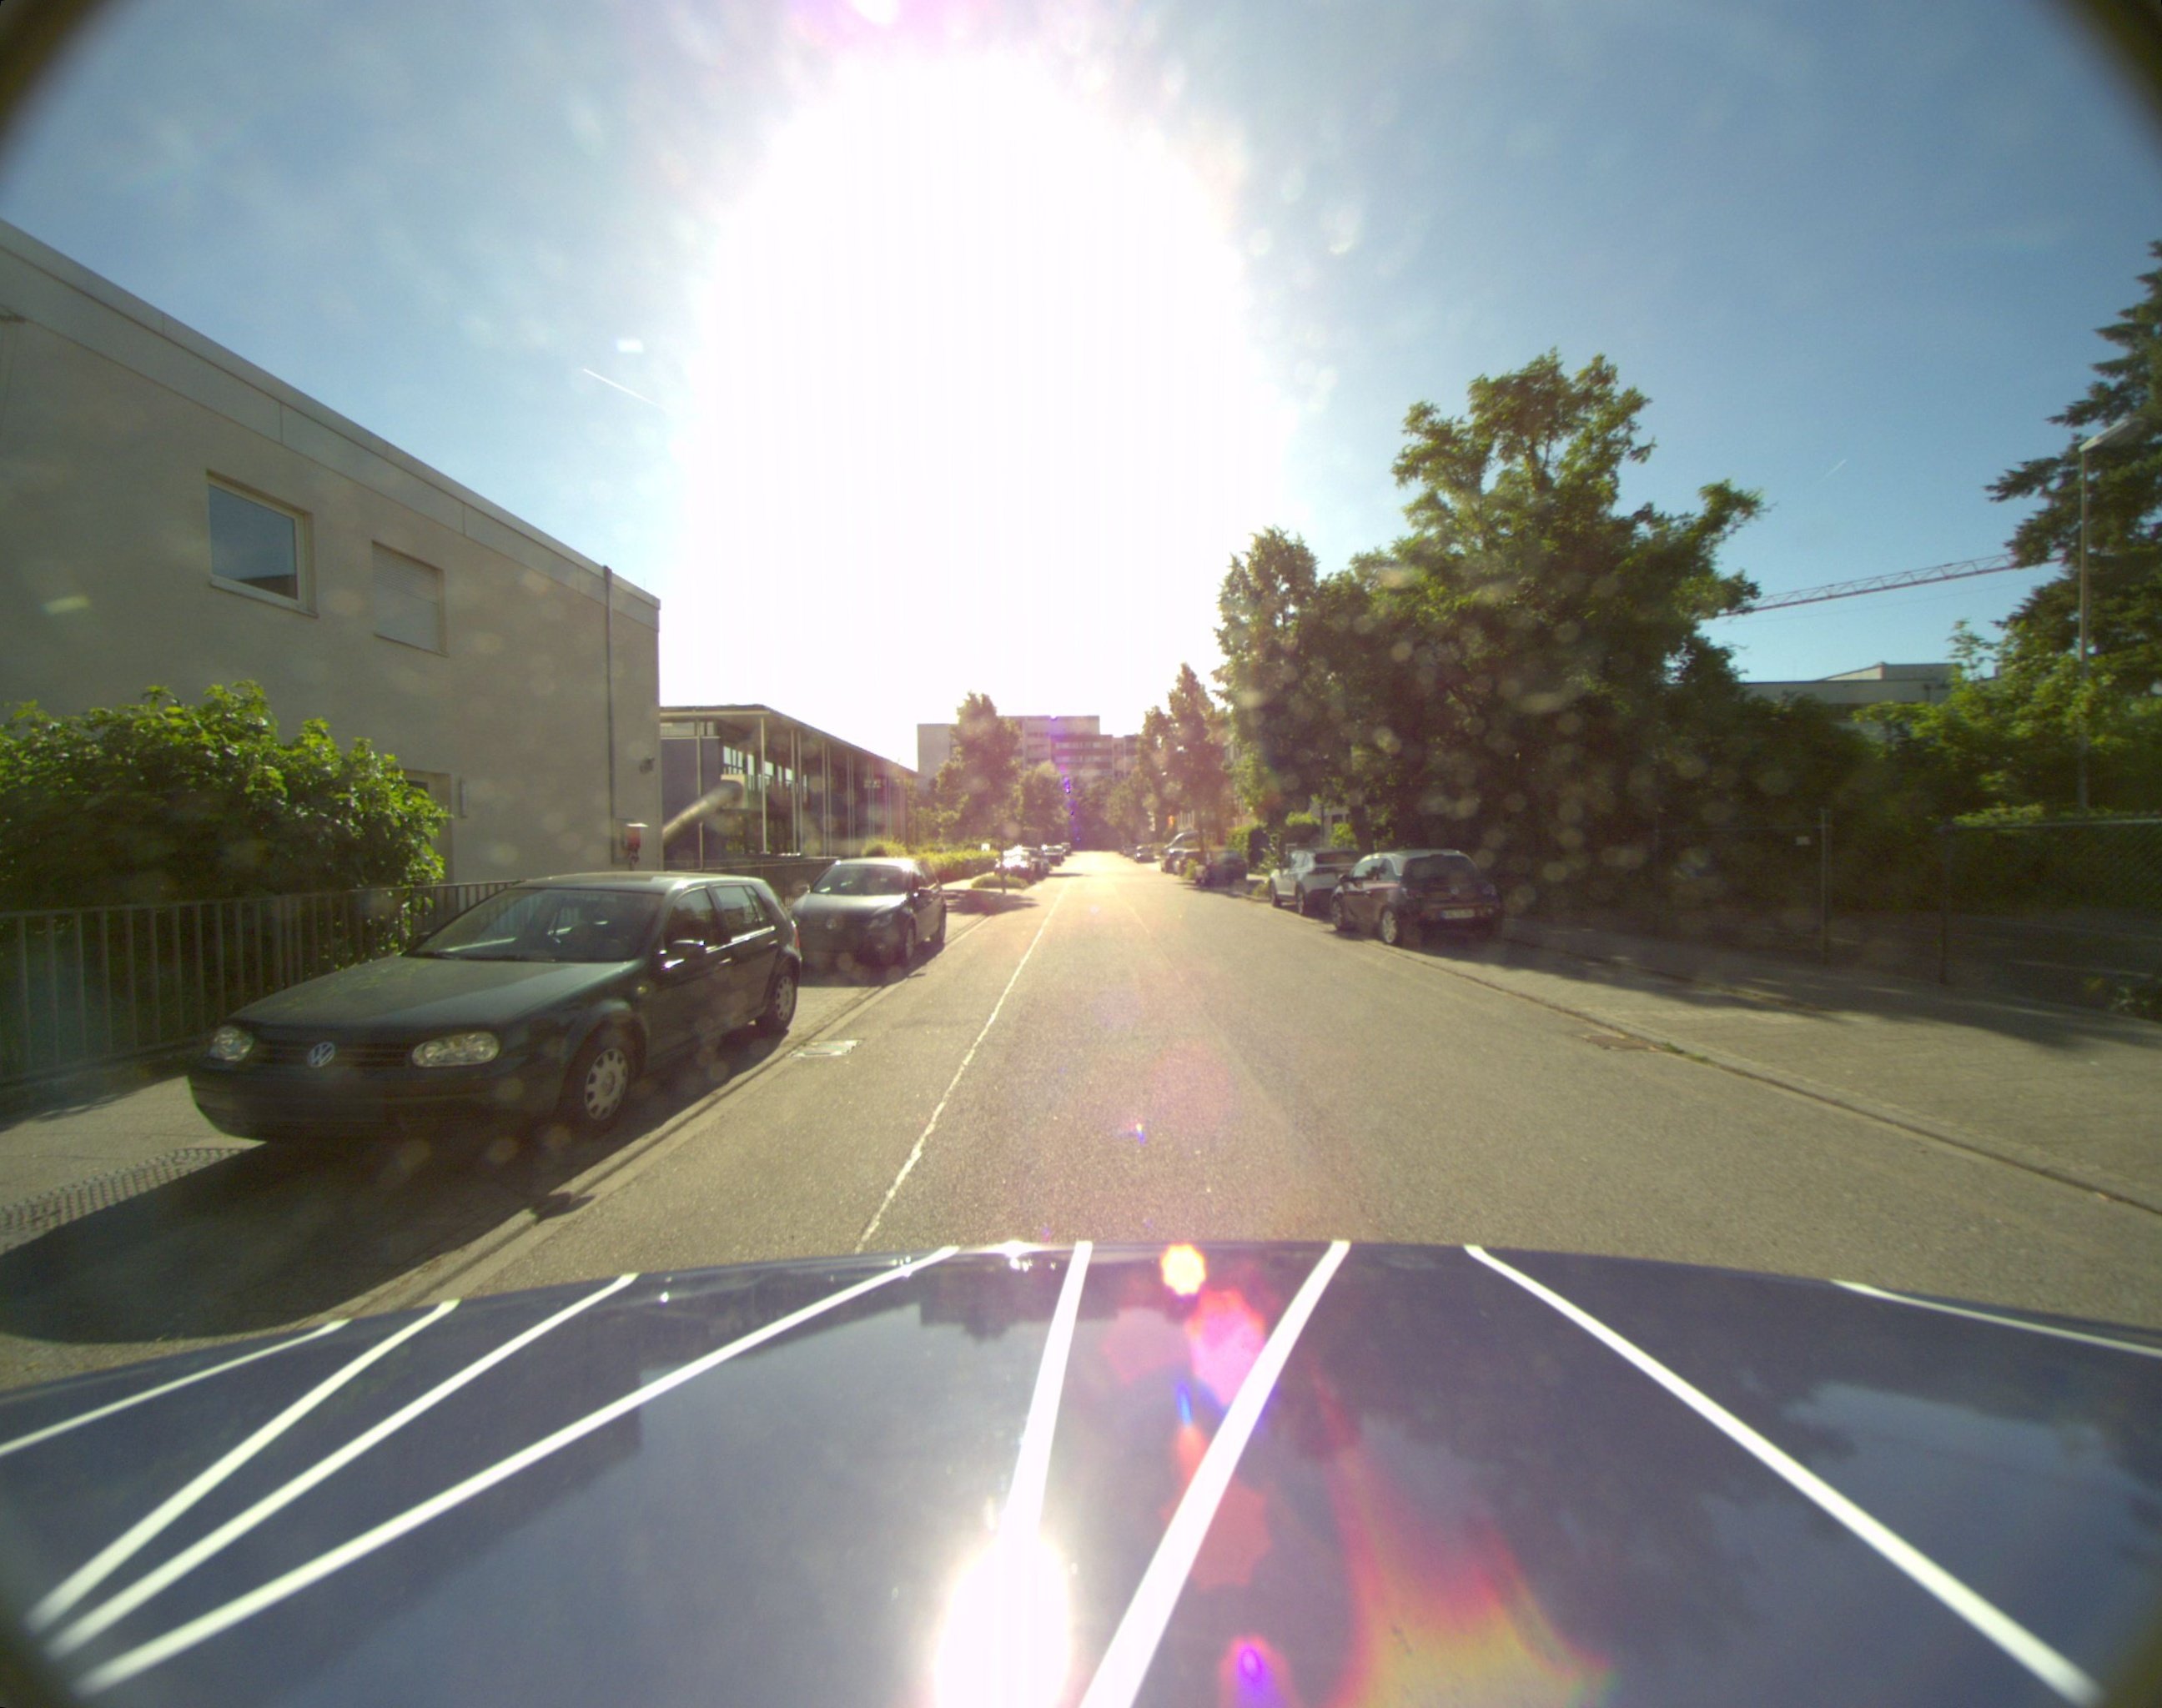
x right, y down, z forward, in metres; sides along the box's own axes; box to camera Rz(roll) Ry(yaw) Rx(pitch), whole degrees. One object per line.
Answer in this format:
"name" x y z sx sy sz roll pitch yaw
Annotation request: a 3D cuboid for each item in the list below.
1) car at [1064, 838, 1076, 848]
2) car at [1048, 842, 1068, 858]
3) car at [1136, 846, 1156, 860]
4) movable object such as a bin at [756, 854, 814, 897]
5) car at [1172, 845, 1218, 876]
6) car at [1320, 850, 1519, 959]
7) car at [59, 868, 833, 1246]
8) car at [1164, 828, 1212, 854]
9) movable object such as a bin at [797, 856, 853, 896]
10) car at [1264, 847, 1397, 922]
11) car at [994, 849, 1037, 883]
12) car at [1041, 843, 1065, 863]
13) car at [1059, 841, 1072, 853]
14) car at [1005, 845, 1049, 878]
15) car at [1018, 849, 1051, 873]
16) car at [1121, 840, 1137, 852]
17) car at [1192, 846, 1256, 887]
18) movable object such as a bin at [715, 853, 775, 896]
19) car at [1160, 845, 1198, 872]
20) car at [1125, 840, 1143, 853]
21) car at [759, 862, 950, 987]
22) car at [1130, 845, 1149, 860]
"car" -1.592 -1.646 112.803 1.644 1.459 3.702 2 2 0
"car" -2.352 -0.425 77.693 1.823 1.459 3.840 2 2 0
"car" 6.045 -0.096 70.879 1.631 1.240 3.562 0 1 1
"movable object such as a bin" -10.451 0.728 26.890 1.369 1.440 1.631 -1 1 1
"car" 6.097 0.312 40.966 1.845 1.465 4.026 -3 1 1
"car" 5.567 0.738 13.000 1.722 1.465 3.545 -3 1 -1
"car" -3.462 0.932 5.496 1.751 1.414 4.423 -1 2 1
"car" 12.245 -1.536 87.215 5.153 2.886 2.013 -1 2 -3
"movable object such as a bin" -9.020 0.757 26.819 1.369 1.350 1.631 -1 1 1
"car" 5.812 0.644 18.202 1.845 1.465 4.001 -3 1 1
"car" -3.027 0.523 35.665 1.679 1.495 3.846 -1 1 0
"car" -2.436 -0.139 66.675 1.823 1.638 4.487 2 1 0
"car" -2.039 -0.932 100.672 1.644 1.459 3.702 2 2 0
"car" -2.864 0.363 41.159 1.905 1.673 4.410 1 1 1
"car" -2.915 0.403 48.541 1.968 1.312 4.774 1 1 -3
"car" 6.586 -1.142 105.163 1.795 1.509 3.888 -2 1 -2
"car" 5.854 0.464 31.635 1.845 1.465 4.359 -3 1 1
"movable object such as a bin" -11.849 0.715 26.872 1.333 1.440 1.631 -1 1 1
"car" 6.067 0.258 47.355 1.845 1.465 4.099 -3 1 1
"car" 6.719 -0.936 96.253 1.795 1.590 3.888 -2 1 -2
"car" -3.264 0.930 11.798 1.788 1.507 3.999 0 1 -1
"car" 5.884 -0.170 76.640 1.631 1.515 3.562 -1 1 0
